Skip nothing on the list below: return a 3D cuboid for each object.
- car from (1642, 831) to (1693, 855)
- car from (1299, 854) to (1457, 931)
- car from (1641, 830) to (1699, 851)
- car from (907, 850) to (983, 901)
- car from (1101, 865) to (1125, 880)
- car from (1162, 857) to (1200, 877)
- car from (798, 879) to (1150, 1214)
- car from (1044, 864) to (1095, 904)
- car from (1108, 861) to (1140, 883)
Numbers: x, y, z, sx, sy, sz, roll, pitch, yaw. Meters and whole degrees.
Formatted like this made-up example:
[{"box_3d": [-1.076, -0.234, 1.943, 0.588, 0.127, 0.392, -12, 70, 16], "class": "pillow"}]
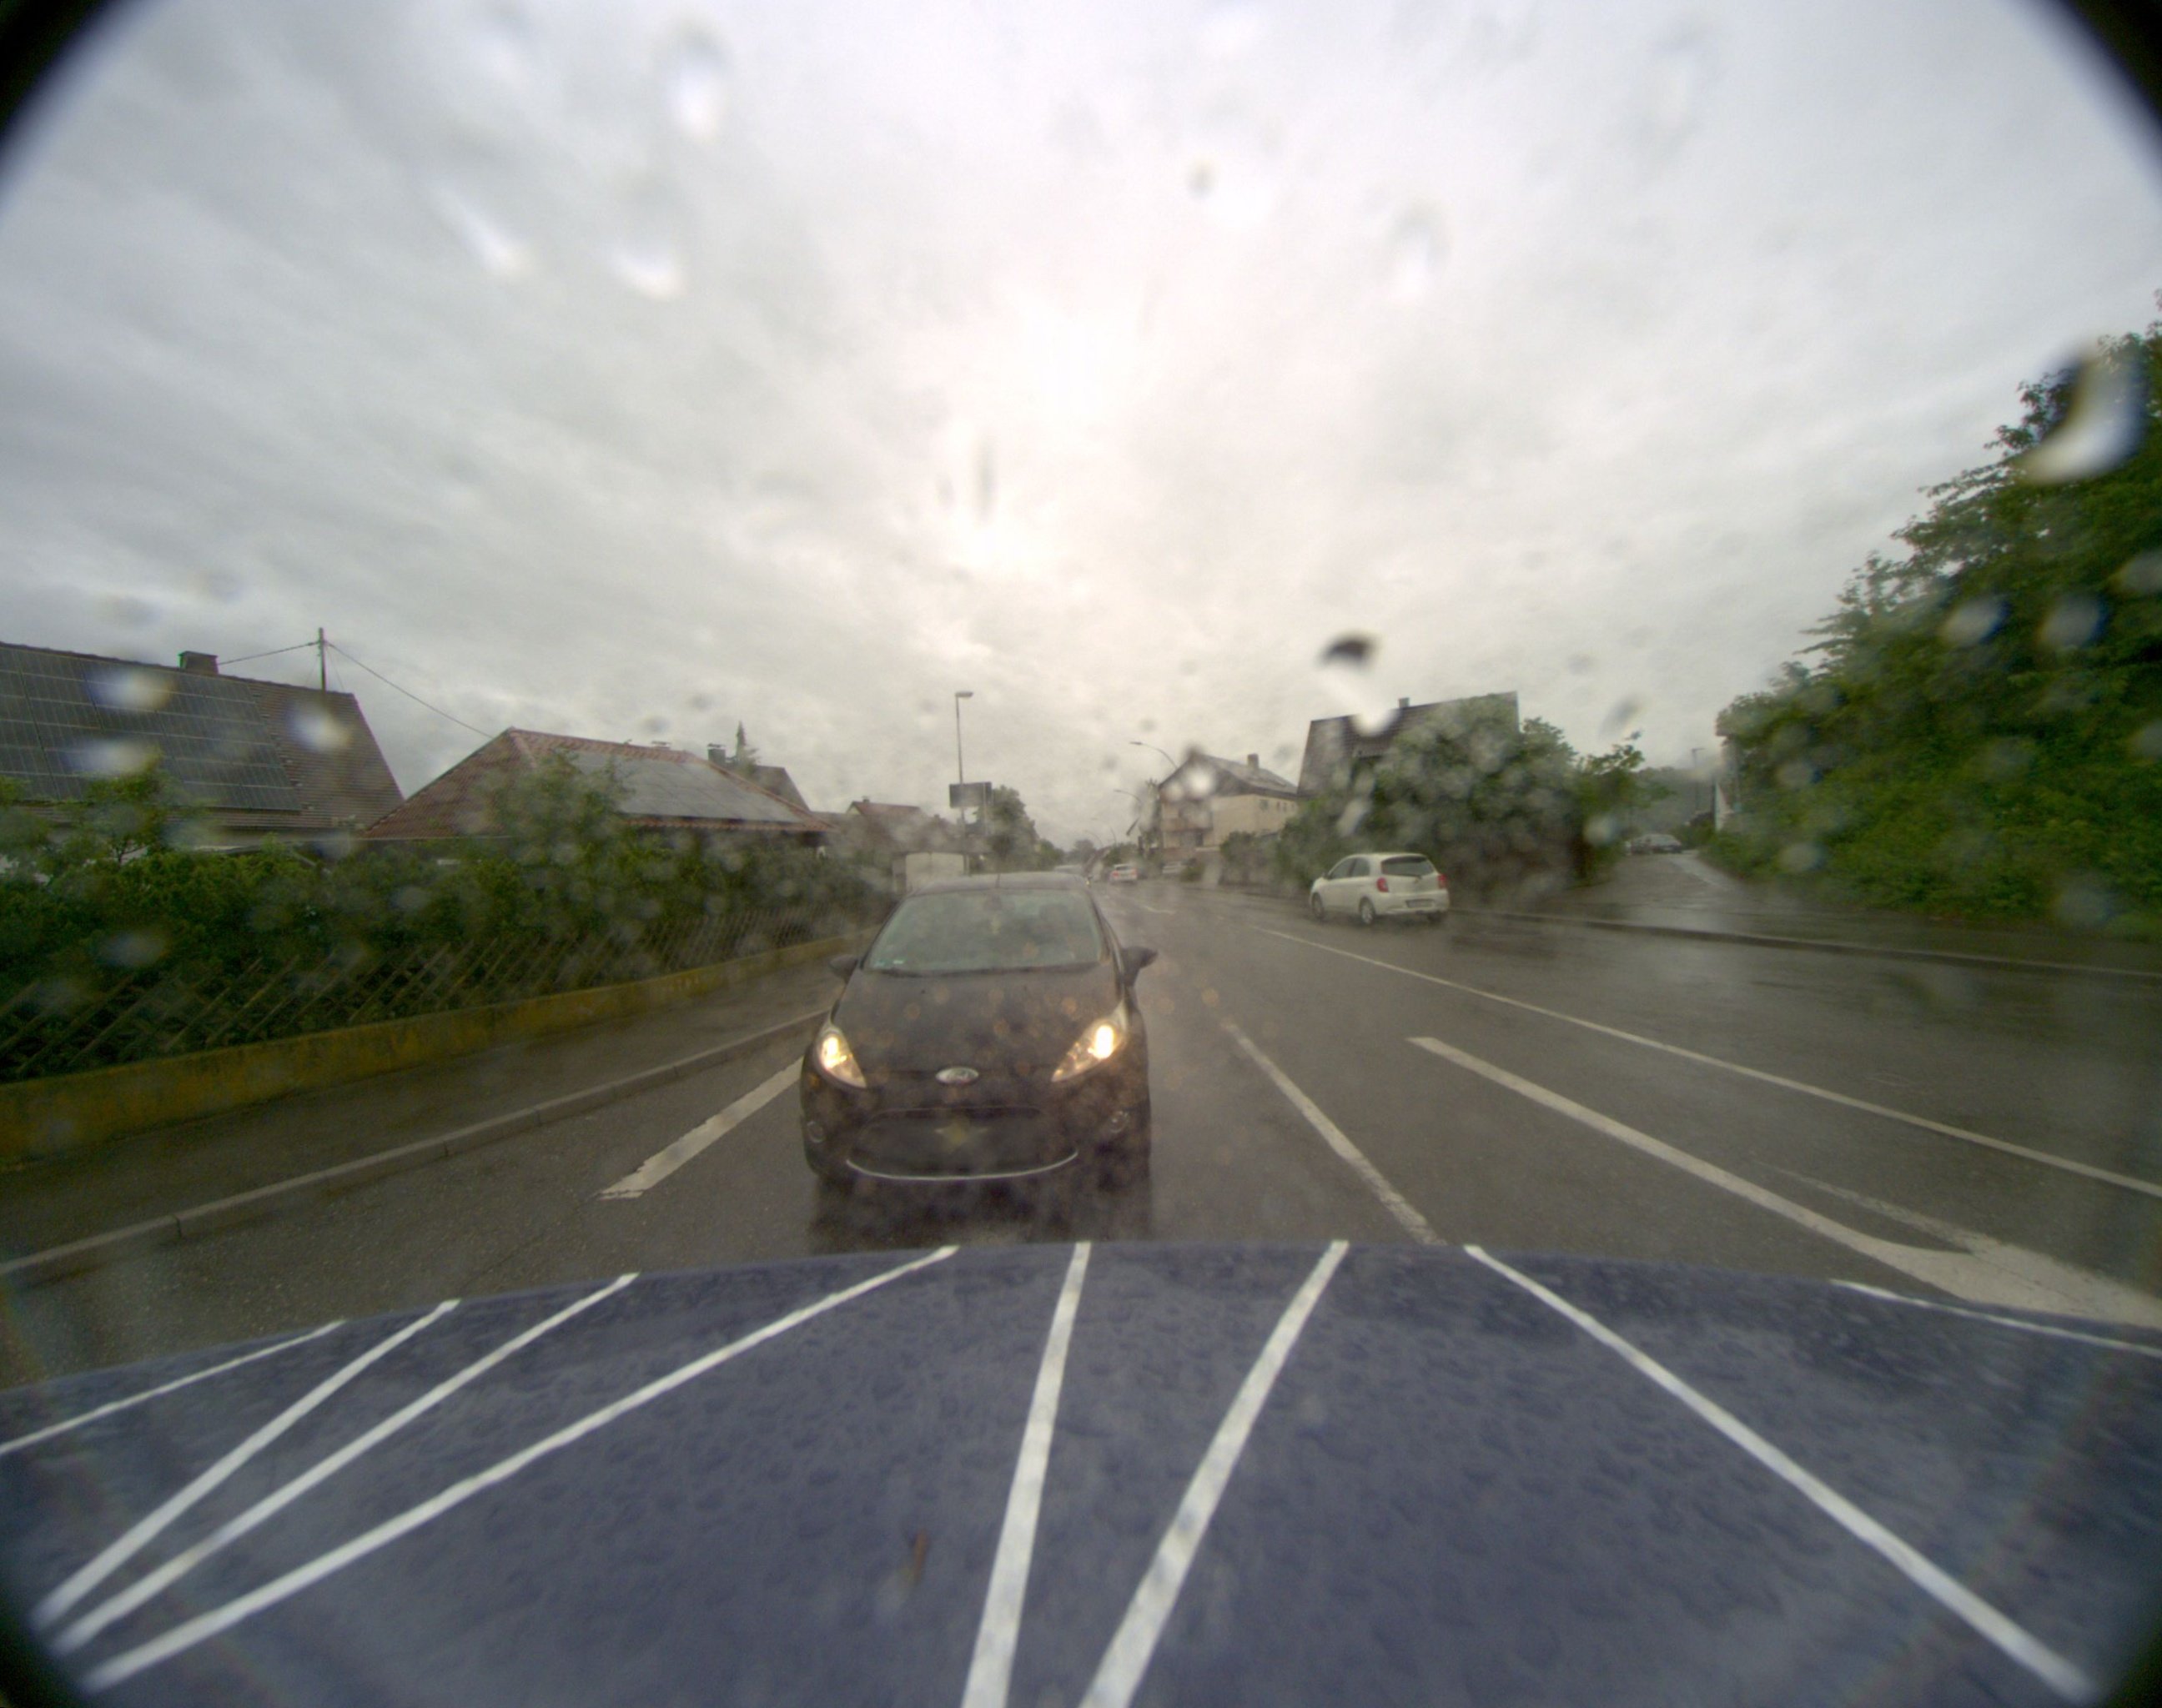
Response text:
[{"box_3d": [40.783, -0.755, 52.960, 1.895, 1.474, 4.007, -2, 0, 24], "class": "car"}, {"box_3d": [6.458, 0.760, 16.976, 1.625, 1.496, 3.820, -1, 0, -8], "class": "car"}, {"box_3d": [45.602, -1.024, 58.945, 1.997, 1.477, 4.004, -3, 0, 13], "class": "car"}, {"box_3d": [-6.860, 1.045, 38.695, 1.650, 2.337, 4.007, -2, 0, 27], "class": "car"}, {"box_3d": [3.164, 1.824, 75.460, 1.670, 1.430, 4.105, 0, 0, -8], "class": "car"}, {"box_3d": [8.810, 1.099, 66.880, 1.661, 1.538, 4.007, -2, 1, 34], "class": "car"}, {"box_3d": [-0.566, 1.011, 5.700, 1.666, 1.410, 3.931, -2, 1, -1], "class": "car"}, {"box_3d": [-0.530, 1.175, 31.195, 1.899, 1.474, 3.999, -2, 0, -3], "class": "car"}, {"box_3d": [3.217, 1.302, 57.313, 1.669, 1.496, 4.319, -3, 0, -6], "class": "car"}]
